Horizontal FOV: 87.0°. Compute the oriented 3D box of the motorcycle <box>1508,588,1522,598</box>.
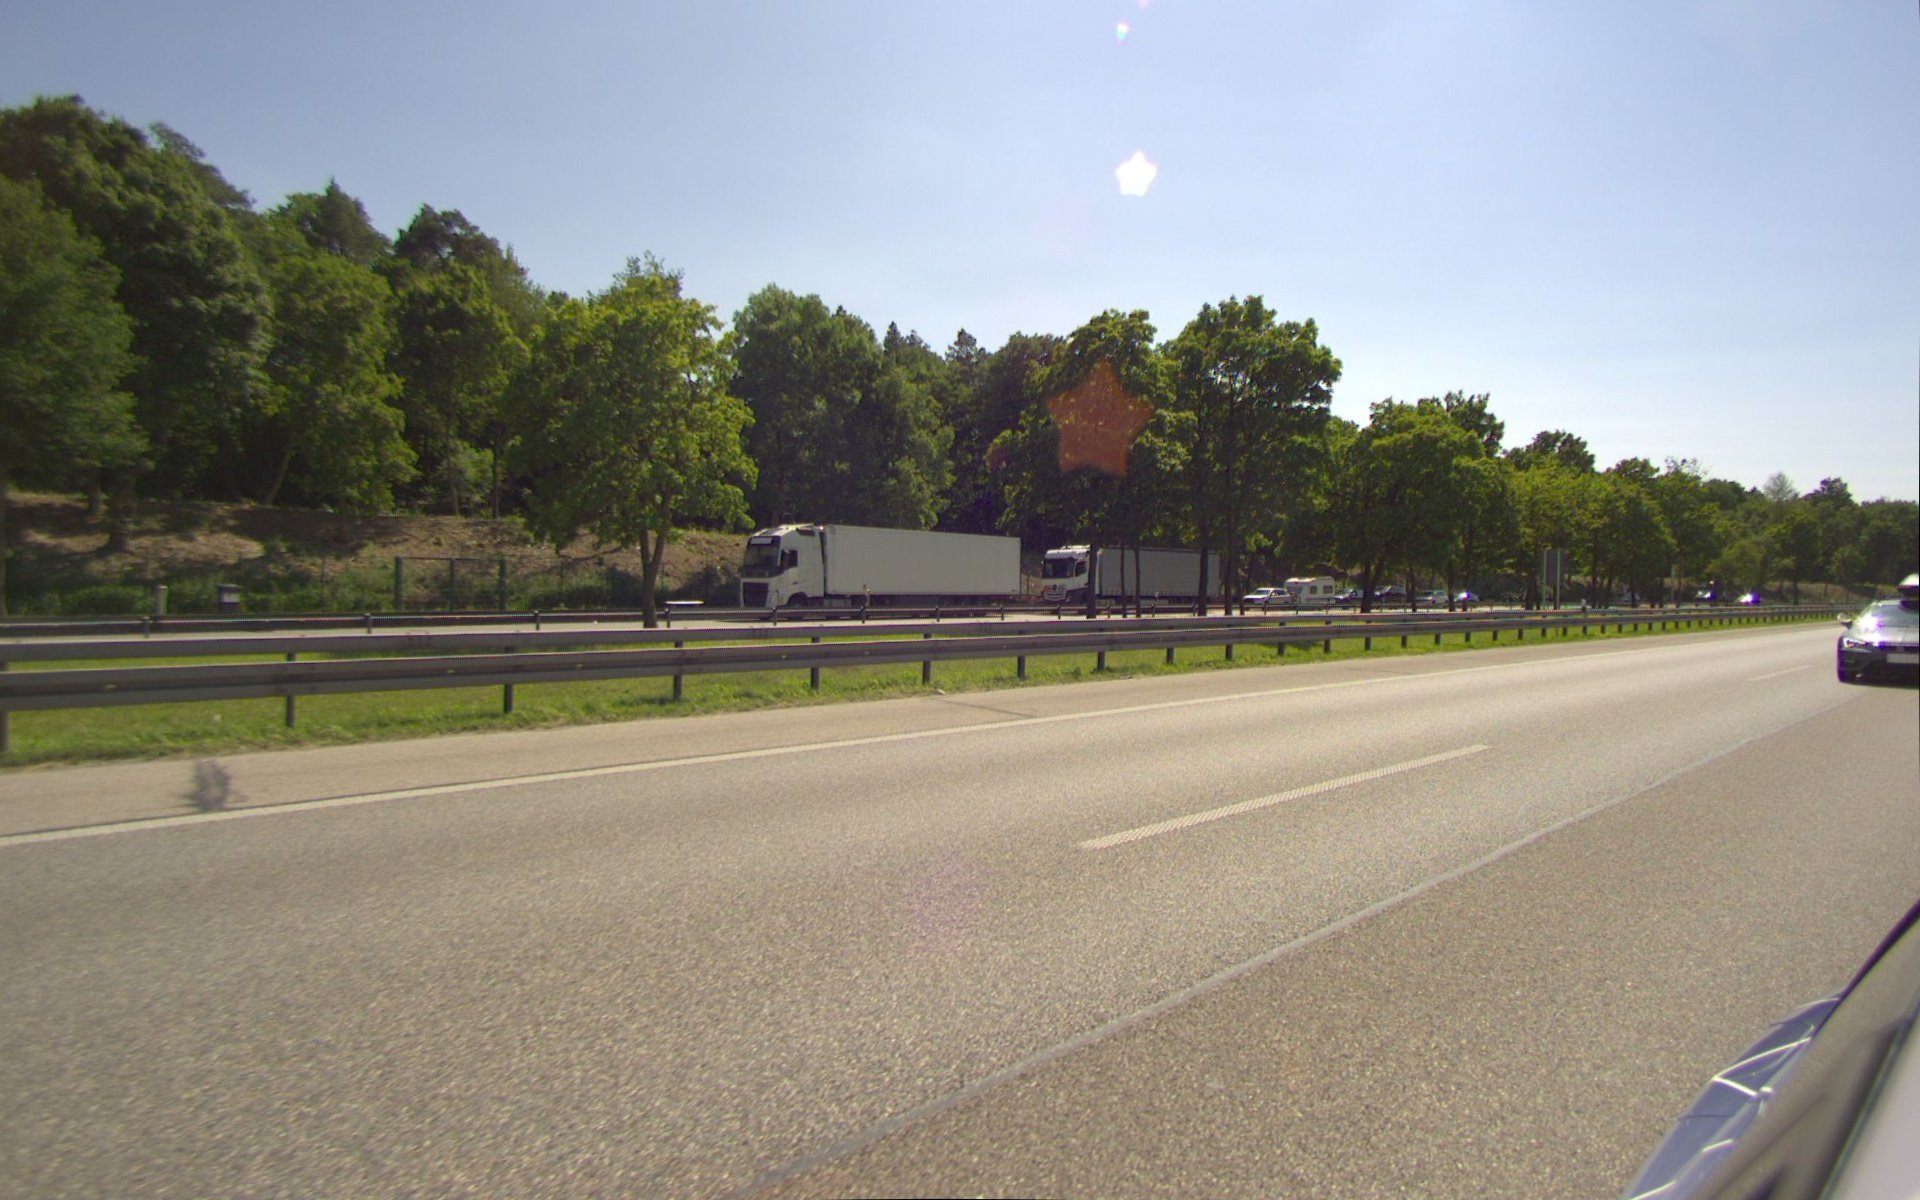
[{"bbox_3d":[56.531,-0.711,103.121,1.641,1.043,0.560,0,1,-35],"label":"motorcycle"}]

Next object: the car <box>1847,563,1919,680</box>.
[{"bbox_3d":[17.462,0.362,18.124,4.742,1.899,1.669,0,2,-41],"label":"car"}]

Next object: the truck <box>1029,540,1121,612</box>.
[{"bbox_3d":[6.643,-1.371,58.382,2.972,3.980,4.756,2,1,45],"label":"truck"}]

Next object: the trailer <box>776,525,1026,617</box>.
[{"bbox_3d":[-2.267,-1.276,48.124,2.856,3.844,13.975,1,1,42],"label":"trailer"}]

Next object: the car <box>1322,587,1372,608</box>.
[{"bbox_3d":[31.228,-0.225,81.642,4.413,1.662,1.661,0,1,-37],"label":"car"}]

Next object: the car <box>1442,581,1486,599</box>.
[{"bbox_3d":[47.859,-0.959,96.083,3.921,1.593,2.002,0,1,-32],"label":"car"}]

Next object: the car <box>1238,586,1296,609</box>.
[{"bbox_3d":[22.382,-0.181,73.732,4.470,1.617,1.661,0,1,-37],"label":"car"}]

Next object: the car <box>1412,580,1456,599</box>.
[{"bbox_3d":[43.195,-0.960,92.158,4.565,1.696,1.661,0,1,-37],"label":"car"}]

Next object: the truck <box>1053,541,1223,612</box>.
[{"bbox_3d":[11.483,-1.412,63.369,2.997,3.980,14.228,2,1,44],"label":"truck"}]

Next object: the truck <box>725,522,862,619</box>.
[{"bbox_3d":[-6.984,-1.200,42.755,2.807,3.844,5.068,1,1,42],"label":"truck"}]

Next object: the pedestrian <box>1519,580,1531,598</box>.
[{"bbox_3d":[57.502,-1.104,103.033,0.785,1.804,0.643,1,1,-1],"label":"pedestrian"}]

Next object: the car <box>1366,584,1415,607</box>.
[{"bbox_3d":[36.532,-0.388,85.781,4.710,1.900,1.661,0,1,-37],"label":"car"}]

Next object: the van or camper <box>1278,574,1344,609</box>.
[{"bbox_3d":[27.025,-0.685,77.839,5.772,2.562,2.208,0,1,-41],"label":"van or camper"}]

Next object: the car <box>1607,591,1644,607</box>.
[{"bbox_3d":[78.316,-0.114,119.038,4.233,1.671,2.002,1,2,-32],"label":"car"}]
